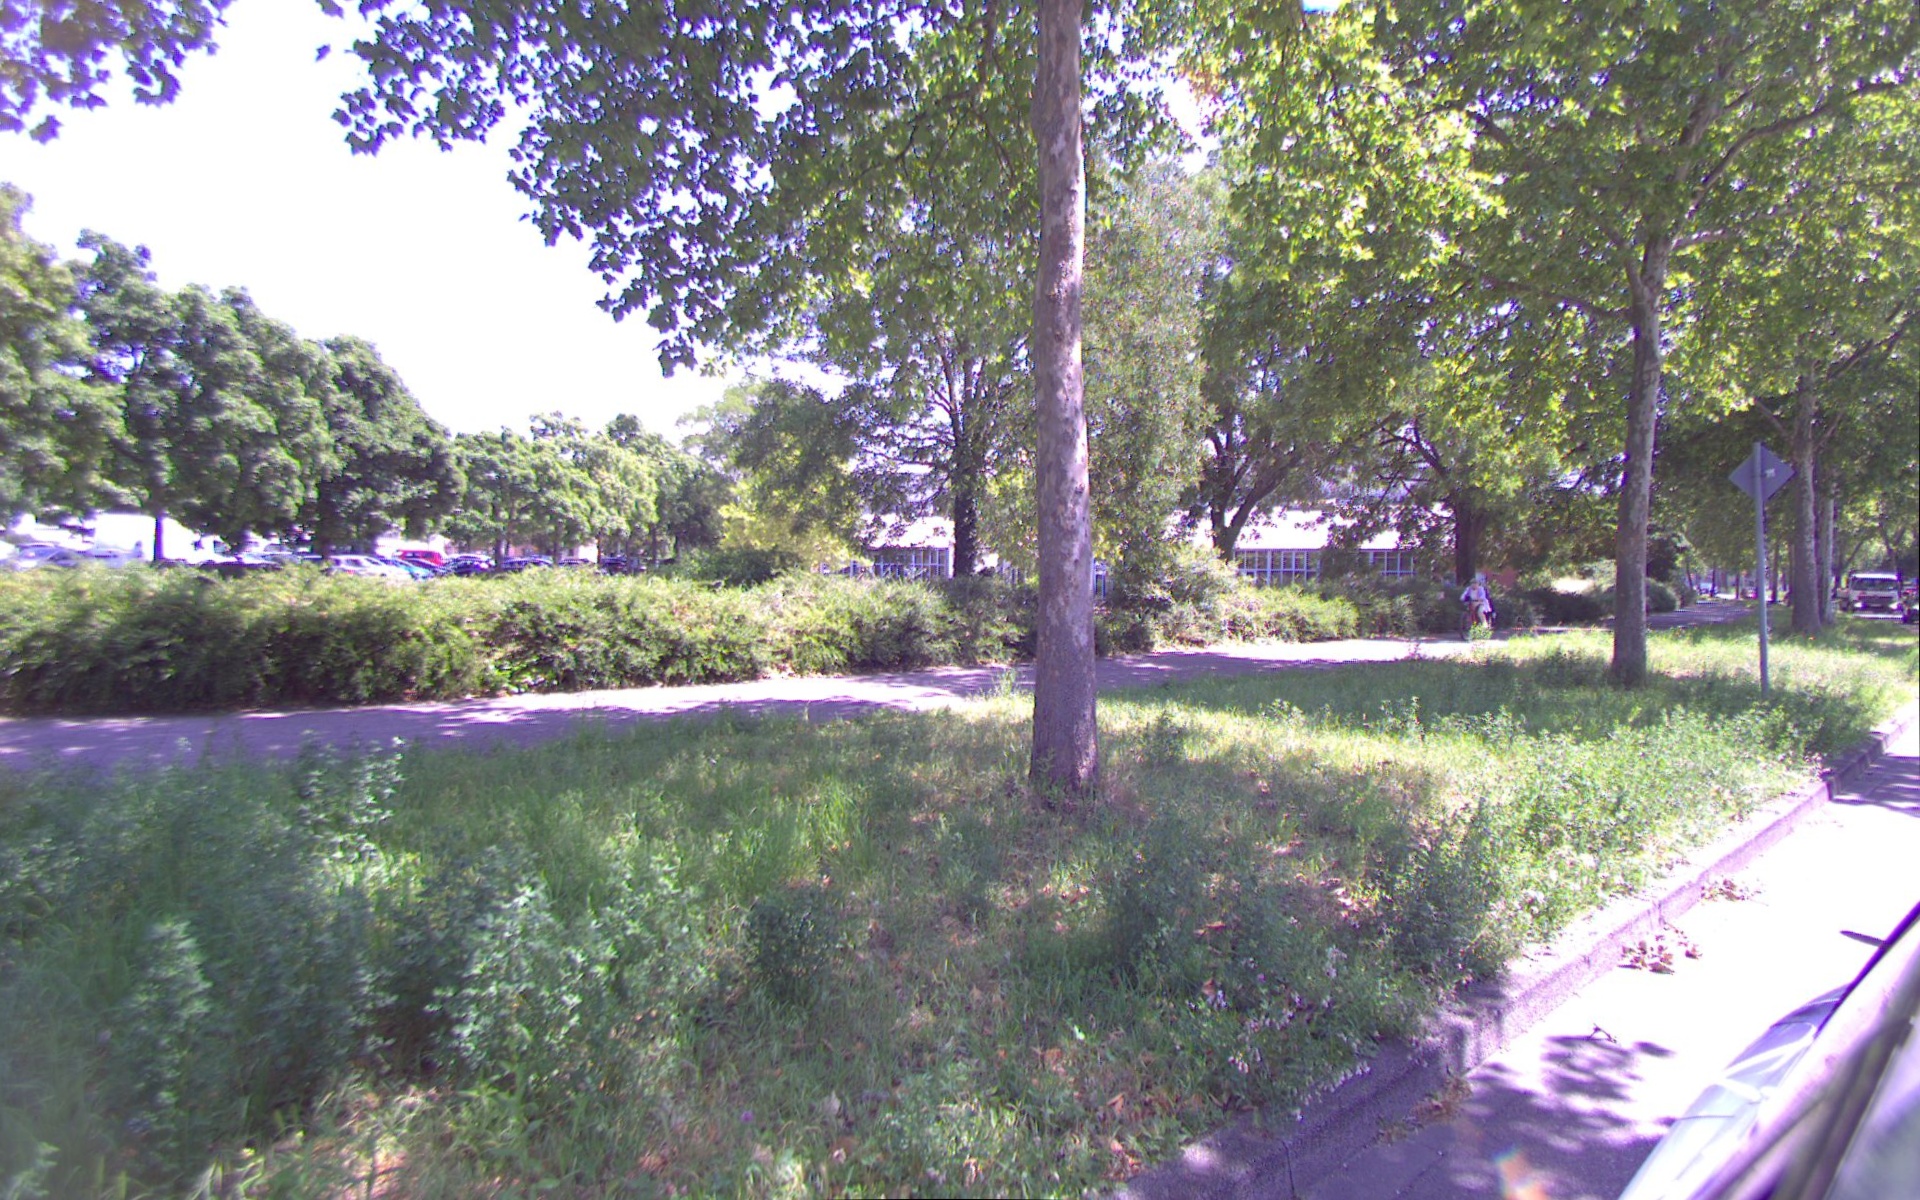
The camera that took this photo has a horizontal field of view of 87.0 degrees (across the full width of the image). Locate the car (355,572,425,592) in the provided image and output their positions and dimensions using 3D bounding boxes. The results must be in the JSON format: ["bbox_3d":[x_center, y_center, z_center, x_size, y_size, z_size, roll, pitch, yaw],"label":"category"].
[{"bbox_3d":[-25.573,-0.793,45.440,2.547,0.852,0.955,1,1,-8],"label":"car"}]

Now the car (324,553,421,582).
[{"bbox_3d":[-27.154,-1.490,46.849,3.501,1.240,1.623,1,1,-8],"label":"car"}]

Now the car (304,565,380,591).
[{"bbox_3d":[-26.039,-0.926,42.685,2.547,1.049,0.955,1,1,-8],"label":"car"}]

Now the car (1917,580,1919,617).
[{"bbox_3d":[47.175,-0.042,48.275,1.992,1.816,3.941,2,2,40],"label":"car"}]

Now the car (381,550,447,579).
[{"bbox_3d":[-40.716,-2.655,75.522,3.919,2.038,1.970,1,1,-6],"label":"car"}]

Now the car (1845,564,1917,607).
[{"bbox_3d":[61.390,-0.975,67.578,2.904,2.687,6.282,2,2,37],"label":"car"}]

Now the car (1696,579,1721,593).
[{"bbox_3d":[100.794,-1.879,136.261,1.981,1.860,3.963,2,2,27],"label":"car"}]

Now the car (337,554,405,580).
[{"bbox_3d":[-27.246,-1.511,46.839,2.547,1.141,1.008,1,1,-8],"label":"car"}]

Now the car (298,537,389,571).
[{"bbox_3d":[-38.569,-2.860,63.362,4.334,2.038,2.249,1,1,-5],"label":"car"}]

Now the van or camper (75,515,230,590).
[{"bbox_3d":[-32.214,-1.856,40.623,2.161,2.785,5.131,1,2,0],"label":"van or camper"}]

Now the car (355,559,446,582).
[{"bbox_3d":[-27.238,-1.441,49.365,3.494,1.047,1.685,1,2,-8],"label":"car"}]

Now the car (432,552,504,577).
[{"bbox_3d":[-28.249,-2.016,58.139,3.357,1.383,1.720,1,1,-8],"label":"car"}]

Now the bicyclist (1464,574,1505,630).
[{"bbox_3d":[12.752,0.040,24.619,0.652,1.355,0.602,0,1,-28],"label":"bicyclist"}]

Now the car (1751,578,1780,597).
[{"bbox_3d":[83.404,-1.314,104.795,1.987,1.860,3.952,2,2,34],"label":"car"}]

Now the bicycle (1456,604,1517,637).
[{"bbox_3d":[12.781,0.482,24.567,1.634,0.773,0.466,0,1,-29],"label":"bicycle"}]

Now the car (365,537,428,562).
[{"bbox_3d":[-76.151,-6.808,136.912,7.056,3.221,3.196,0,1,-24],"label":"car"}]

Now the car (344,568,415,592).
[{"bbox_3d":[-25.326,-0.891,44.185,2.547,0.999,0.955,1,1,-8],"label":"car"}]

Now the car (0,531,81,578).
[{"bbox_3d":[-36.238,-1.719,38.642,1.919,1.739,4.073,1,1,-1],"label":"car"}]

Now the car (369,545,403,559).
[{"bbox_3d":[-69.665,-5.866,122.931,1.433,1.638,3.326,2,2,35],"label":"car"}]

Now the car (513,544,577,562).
[{"bbox_3d":[-63.487,-7.133,154.882,8.647,2.620,3.054,1,1,-10],"label":"car"}]
